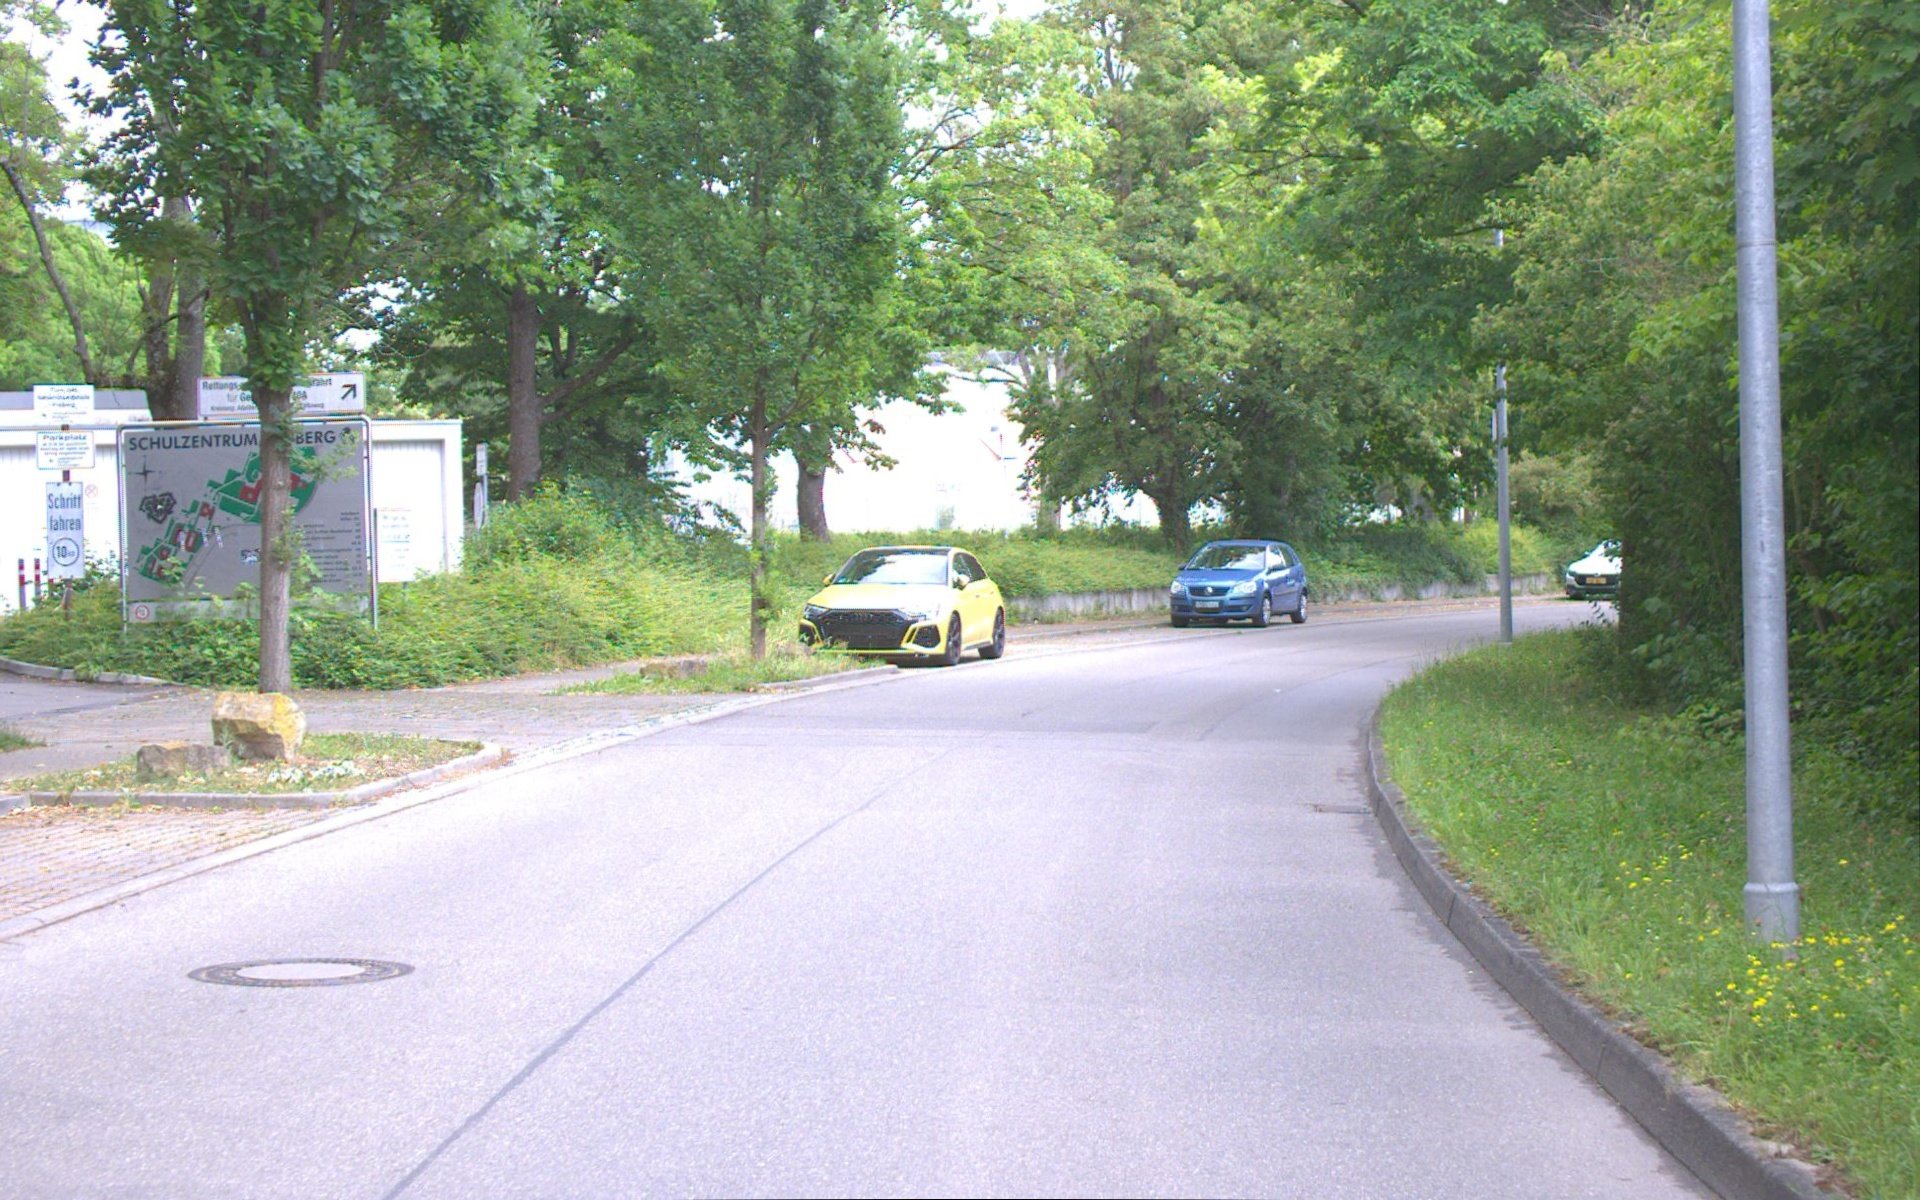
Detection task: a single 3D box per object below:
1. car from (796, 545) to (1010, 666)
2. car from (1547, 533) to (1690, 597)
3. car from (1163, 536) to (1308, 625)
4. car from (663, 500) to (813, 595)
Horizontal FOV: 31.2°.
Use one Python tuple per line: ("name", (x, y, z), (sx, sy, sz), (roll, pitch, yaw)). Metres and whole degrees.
("car", (-0.640, 0.036, 41.942), (1.701, 1.398, 4.271), (0, 1, 12))
("car", (15.225, -0.821, 79.357), (1.817, 1.419, 4.353), (1, 1, 31))
("car", (4.756, -0.354, 58.962), (1.535, 1.454, 3.716), (0, 1, 20))
("car", (-4.039, -0.951, 61.955), (1.740, 1.616, 3.874), (-2, 1, -18))
